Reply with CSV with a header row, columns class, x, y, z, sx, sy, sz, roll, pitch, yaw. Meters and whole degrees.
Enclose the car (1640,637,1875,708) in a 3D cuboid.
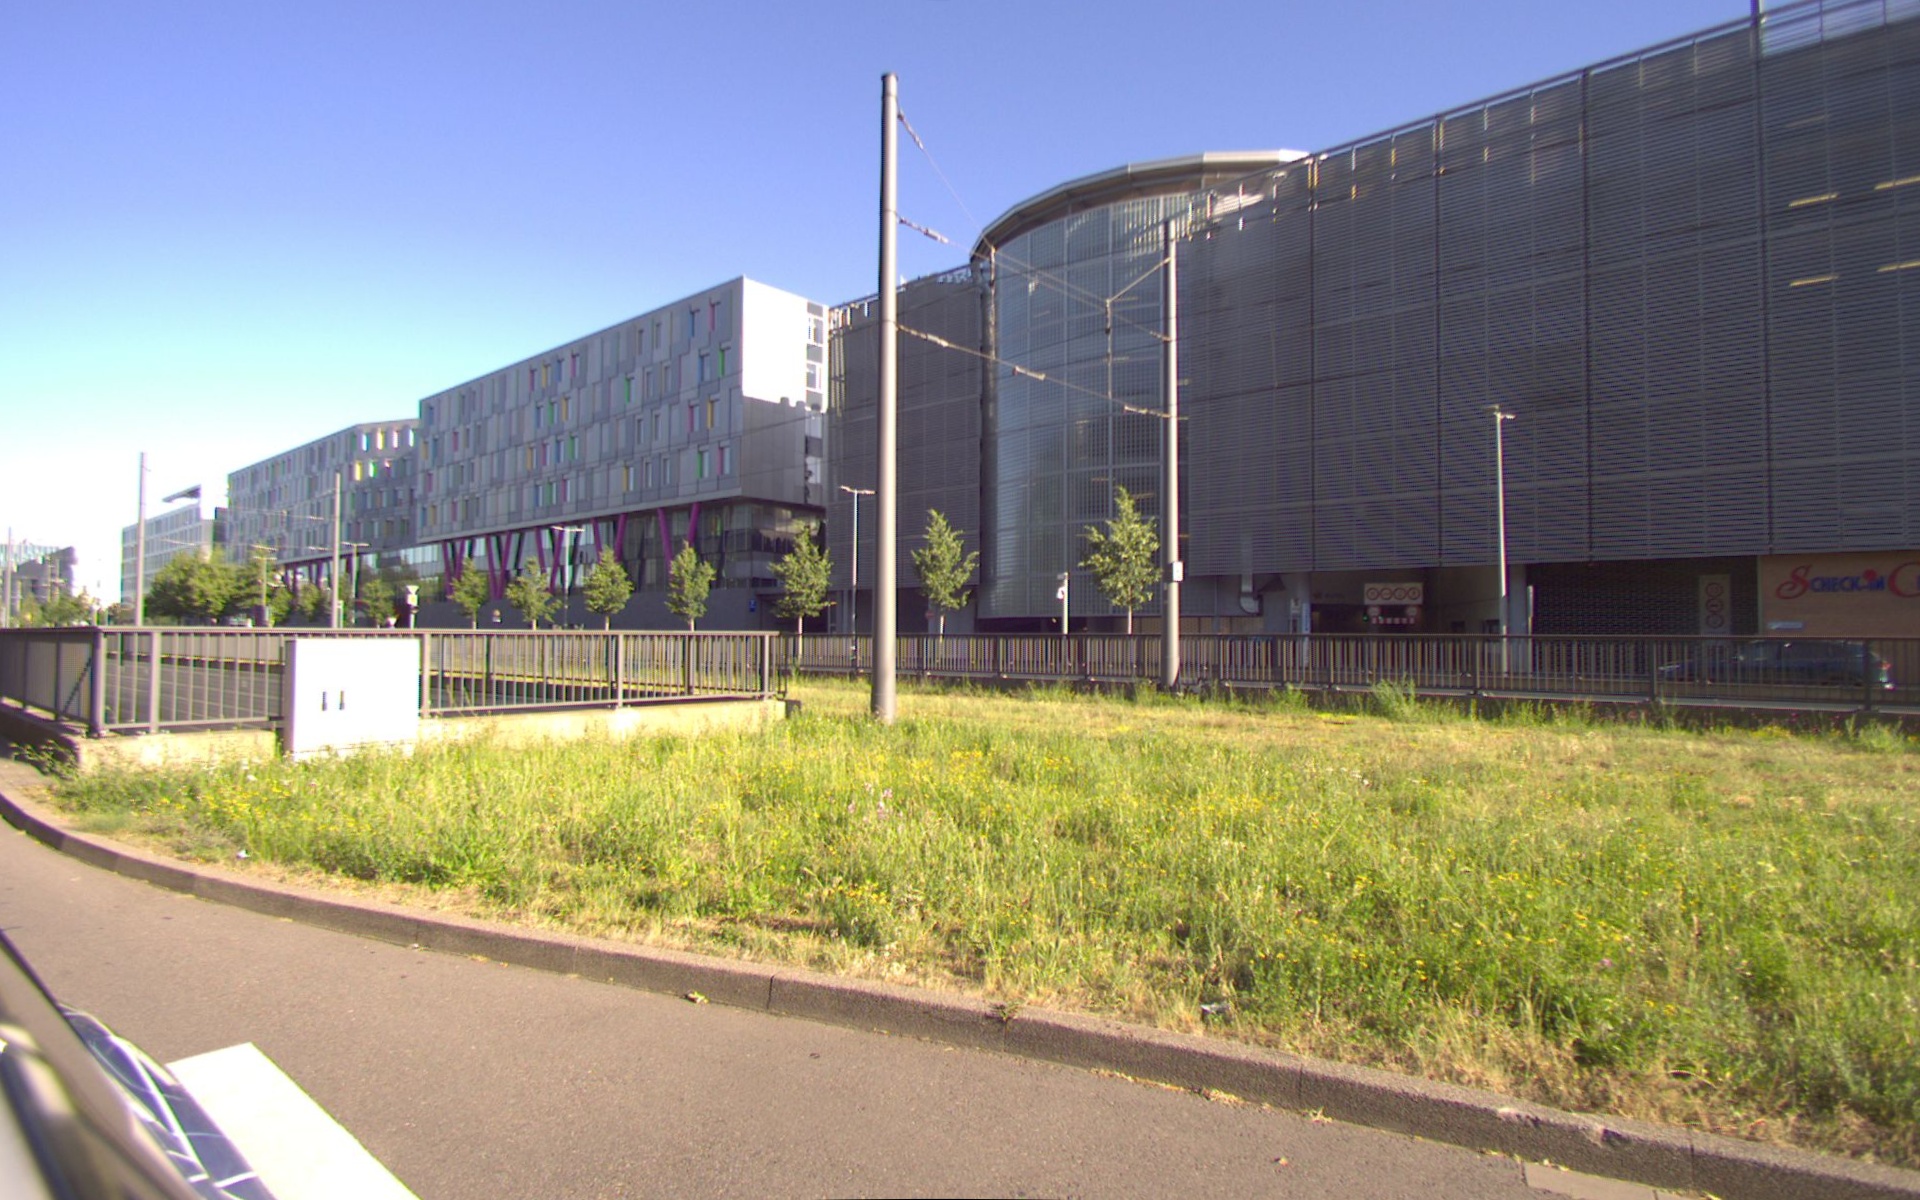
class,x,y,z,sx,sy,sz,roll,pitch,yaw
car,18.994,1.664,24.232,4.242,1.512,1.972,-2,-2,42
